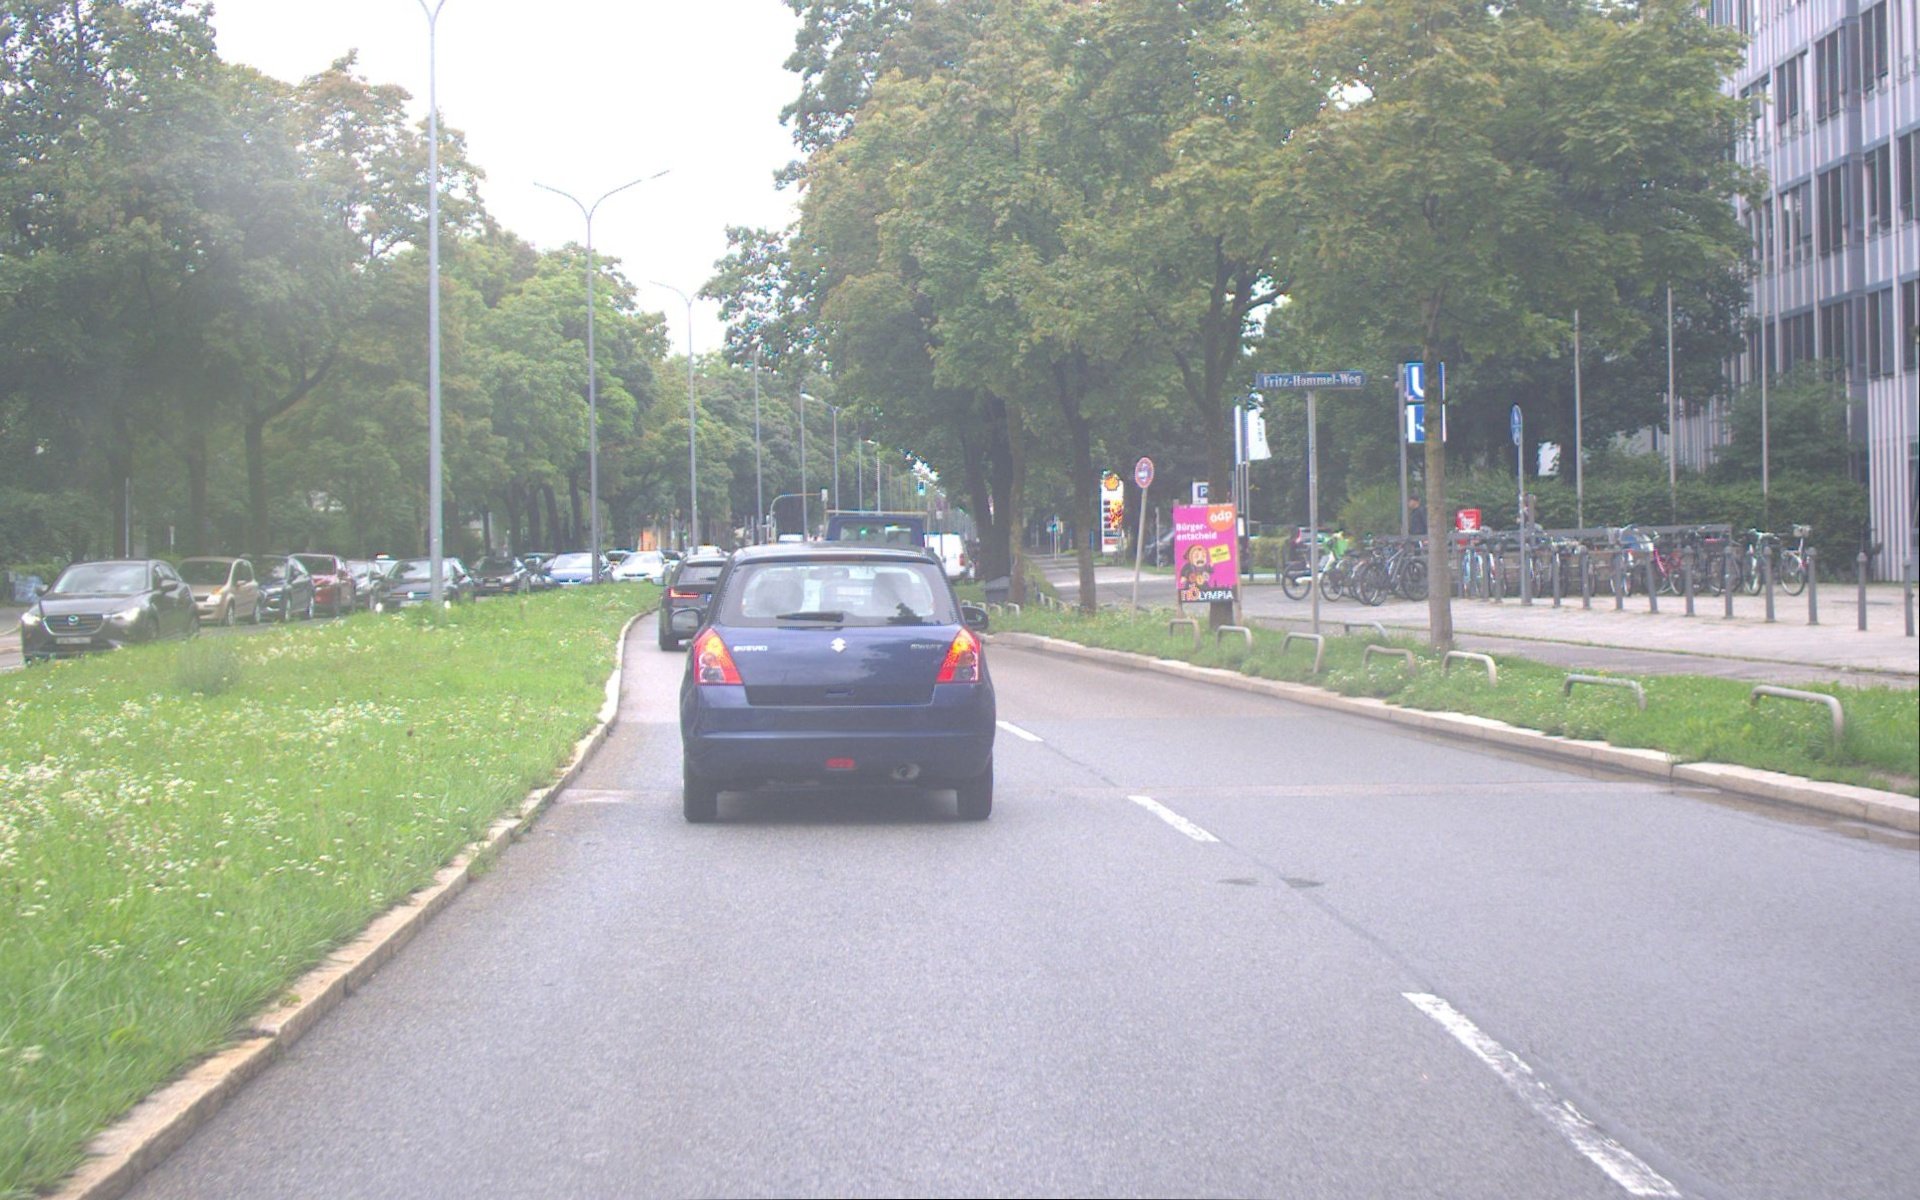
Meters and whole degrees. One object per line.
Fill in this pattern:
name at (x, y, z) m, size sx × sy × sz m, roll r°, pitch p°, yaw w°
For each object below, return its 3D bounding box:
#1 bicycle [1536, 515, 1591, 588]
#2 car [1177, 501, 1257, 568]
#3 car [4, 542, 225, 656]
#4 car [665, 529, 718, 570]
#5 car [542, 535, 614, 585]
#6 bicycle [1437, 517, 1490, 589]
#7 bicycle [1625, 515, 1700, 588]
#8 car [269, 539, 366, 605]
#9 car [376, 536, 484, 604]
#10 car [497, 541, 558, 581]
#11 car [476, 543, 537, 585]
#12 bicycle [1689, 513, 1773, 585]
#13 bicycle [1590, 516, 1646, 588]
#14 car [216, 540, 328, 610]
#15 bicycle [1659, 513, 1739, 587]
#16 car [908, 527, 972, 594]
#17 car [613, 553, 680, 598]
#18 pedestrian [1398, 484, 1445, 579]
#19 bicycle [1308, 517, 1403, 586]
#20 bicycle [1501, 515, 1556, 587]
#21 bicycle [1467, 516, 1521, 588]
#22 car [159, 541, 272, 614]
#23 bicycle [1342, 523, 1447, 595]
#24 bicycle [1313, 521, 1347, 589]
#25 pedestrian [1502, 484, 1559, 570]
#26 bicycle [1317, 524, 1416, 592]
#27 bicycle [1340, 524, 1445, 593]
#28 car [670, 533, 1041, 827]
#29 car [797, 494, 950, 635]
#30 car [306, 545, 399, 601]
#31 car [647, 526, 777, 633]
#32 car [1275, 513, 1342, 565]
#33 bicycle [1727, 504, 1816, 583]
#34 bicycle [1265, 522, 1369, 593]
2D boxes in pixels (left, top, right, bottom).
bicycle at (10.157, -0.824, 57.897) m, size 0.487 × 1.185 × 1.954 m, roll -1°, pitch 1°, yaw -2°
car at (9.262, -2.379, 124.471) m, size 2.264 × 2.299 × 6.269 m, roll -2°, pitch 1°, yaw -1°
car at (-11.923, -0.049, 48.758) m, size 1.957 × 1.475 × 4.259 m, roll -2°, pitch 1°, yaw 1°
car at (-11.157, -2.109, 143.095) m, size 1.766 × 1.619 × 4.376 m, roll -2°, pitch 1°, yaw 1°
car at (-11.368, -1.198, 102.502) m, size 1.691 × 1.397 × 3.968 m, roll -2°, pitch 1°, yaw 0°
bicycle at (8.453, -0.796, 57.772) m, size 0.487 × 1.185 × 1.954 m, roll -1°, pitch 1°, yaw -2°
bicycle at (11.719, -0.815, 57.397) m, size 0.445 × 1.185 × 2.142 m, roll -2°, pitch 1°, yaw -10°
car at (-16.920, -0.761, 90.739) m, size 1.739 × 1.646 × 4.607 m, roll 1°, pitch 1°, yaw -1°
car at (-11.648, -0.690, 75.739) m, size 1.782 × 1.401 × 4.102 m, roll -2°, pitch 1°, yaw -1°
car at (-16.242, -1.491, 129.183) m, size 1.625 × 1.418 × 4.192 m, roll 2°, pitch 1°, yaw 2°
car at (-16.314, -1.300, 123.912) m, size 1.580 × 1.418 × 4.363 m, roll 2°, pitch 1°, yaw 0°
bicycle at (12.916, -0.858, 57.651) m, size 0.577 × 1.185 × 2.142 m, roll -2°, pitch 1°, yaw -10°
bicycle at (11.023, -0.811, 57.638) m, size 0.445 × 1.185 × 1.954 m, roll -1°, pitch 1°, yaw -2°
car at (-16.934, -0.645, 84.815) m, size 1.739 × 1.638 × 4.684 m, roll 0°, pitch 1°, yaw 1°
bicycle at (12.288, -0.834, 57.227) m, size 0.511 × 1.185 × 2.142 m, roll -2°, pitch 1°, yaw -10°
car at (-0.656, -1.372, 117.399) m, size 1.987 × 2.150 × 5.555 m, roll -2°, pitch 1°, yaw 1°
car at (-11.037, -0.869, 121.364) m, size 1.915 × 1.479 × 4.865 m, roll -2°, pitch 1°, yaw 0°
pedestrian at (9.293, -1.377, 69.256) m, size 0.651 × 1.893 × 0.749 m, roll -2°, pitch 1°, yaw -16°
bicycle at (7.312, -0.901, 63.568) m, size 1.949 × 1.104 × 0.580 m, roll -8°, pitch 5°, yaw -44°
bicycle at (9.553, -0.829, 57.821) m, size 0.487 × 1.185 × 1.954 m, roll -1°, pitch 1°, yaw -2°
bicycle at (8.972, -0.812, 57.808) m, size 0.487 × 1.185 × 1.954 m, roll -1°, pitch 1°, yaw -2°
car at (-17.147, -0.541, 79.339) m, size 1.647 × 1.608 × 3.819 m, roll 0°, pitch 1°, yaw 2°
bicycle at (7.415, -0.708, 58.637) m, size 2.027 × 1.095 × 0.580 m, roll -5°, pitch 1°, yaw -45°
bicycle at (7.237, -0.888, 67.317) m, size 0.530 × 1.222 × 1.861 m, roll -3°, pitch 3°, yaw 5°
pedestrian at (11.438, -1.465, 68.937) m, size 0.748 × 1.708 × 0.785 m, roll -2°, pitch 1°, yaw -40°
bicycle at (7.210, -0.748, 60.957) m, size 1.949 × 1.062 × 0.580 m, roll -6°, pitch 2°, yaw -44°
bicycle at (7.579, -0.729, 60.152) m, size 2.035 × 1.085 × 0.604 m, roll -4°, pitch 0°, yaw -44°
car at (-0.602, 0.375, 19.501) m, size 1.896 × 1.494 × 3.660 m, roll 0°, pitch 1°, yaw -2°
car at (-1.501, -0.660, 61.923) m, size 2.419 × 2.435 × 5.086 m, roll 0°, pitch 1°, yaw 2°
car at (-16.862, -0.767, 95.571) m, size 1.739 × 1.477 × 4.334 m, roll 1°, pitch 1°, yaw 1°
car at (-3.762, -0.335, 51.717) m, size 1.799 × 1.494 × 3.661 m, roll -2°, pitch 1°, yaw -6°
car at (12.644, -2.226, 124.988) m, size 1.842 × 1.812 × 4.472 m, roll -2°, pitch 1°, yaw -1°
bicycle at (13.652, -0.960, 57.901) m, size 0.508 × 1.290 × 2.479 m, roll -2°, pitch 1°, yaw -10°
bicycle at (6.695, -0.806, 64.412) m, size 1.948 × 1.185 × 0.597 m, roll -5°, pitch 3°, yaw -33°
